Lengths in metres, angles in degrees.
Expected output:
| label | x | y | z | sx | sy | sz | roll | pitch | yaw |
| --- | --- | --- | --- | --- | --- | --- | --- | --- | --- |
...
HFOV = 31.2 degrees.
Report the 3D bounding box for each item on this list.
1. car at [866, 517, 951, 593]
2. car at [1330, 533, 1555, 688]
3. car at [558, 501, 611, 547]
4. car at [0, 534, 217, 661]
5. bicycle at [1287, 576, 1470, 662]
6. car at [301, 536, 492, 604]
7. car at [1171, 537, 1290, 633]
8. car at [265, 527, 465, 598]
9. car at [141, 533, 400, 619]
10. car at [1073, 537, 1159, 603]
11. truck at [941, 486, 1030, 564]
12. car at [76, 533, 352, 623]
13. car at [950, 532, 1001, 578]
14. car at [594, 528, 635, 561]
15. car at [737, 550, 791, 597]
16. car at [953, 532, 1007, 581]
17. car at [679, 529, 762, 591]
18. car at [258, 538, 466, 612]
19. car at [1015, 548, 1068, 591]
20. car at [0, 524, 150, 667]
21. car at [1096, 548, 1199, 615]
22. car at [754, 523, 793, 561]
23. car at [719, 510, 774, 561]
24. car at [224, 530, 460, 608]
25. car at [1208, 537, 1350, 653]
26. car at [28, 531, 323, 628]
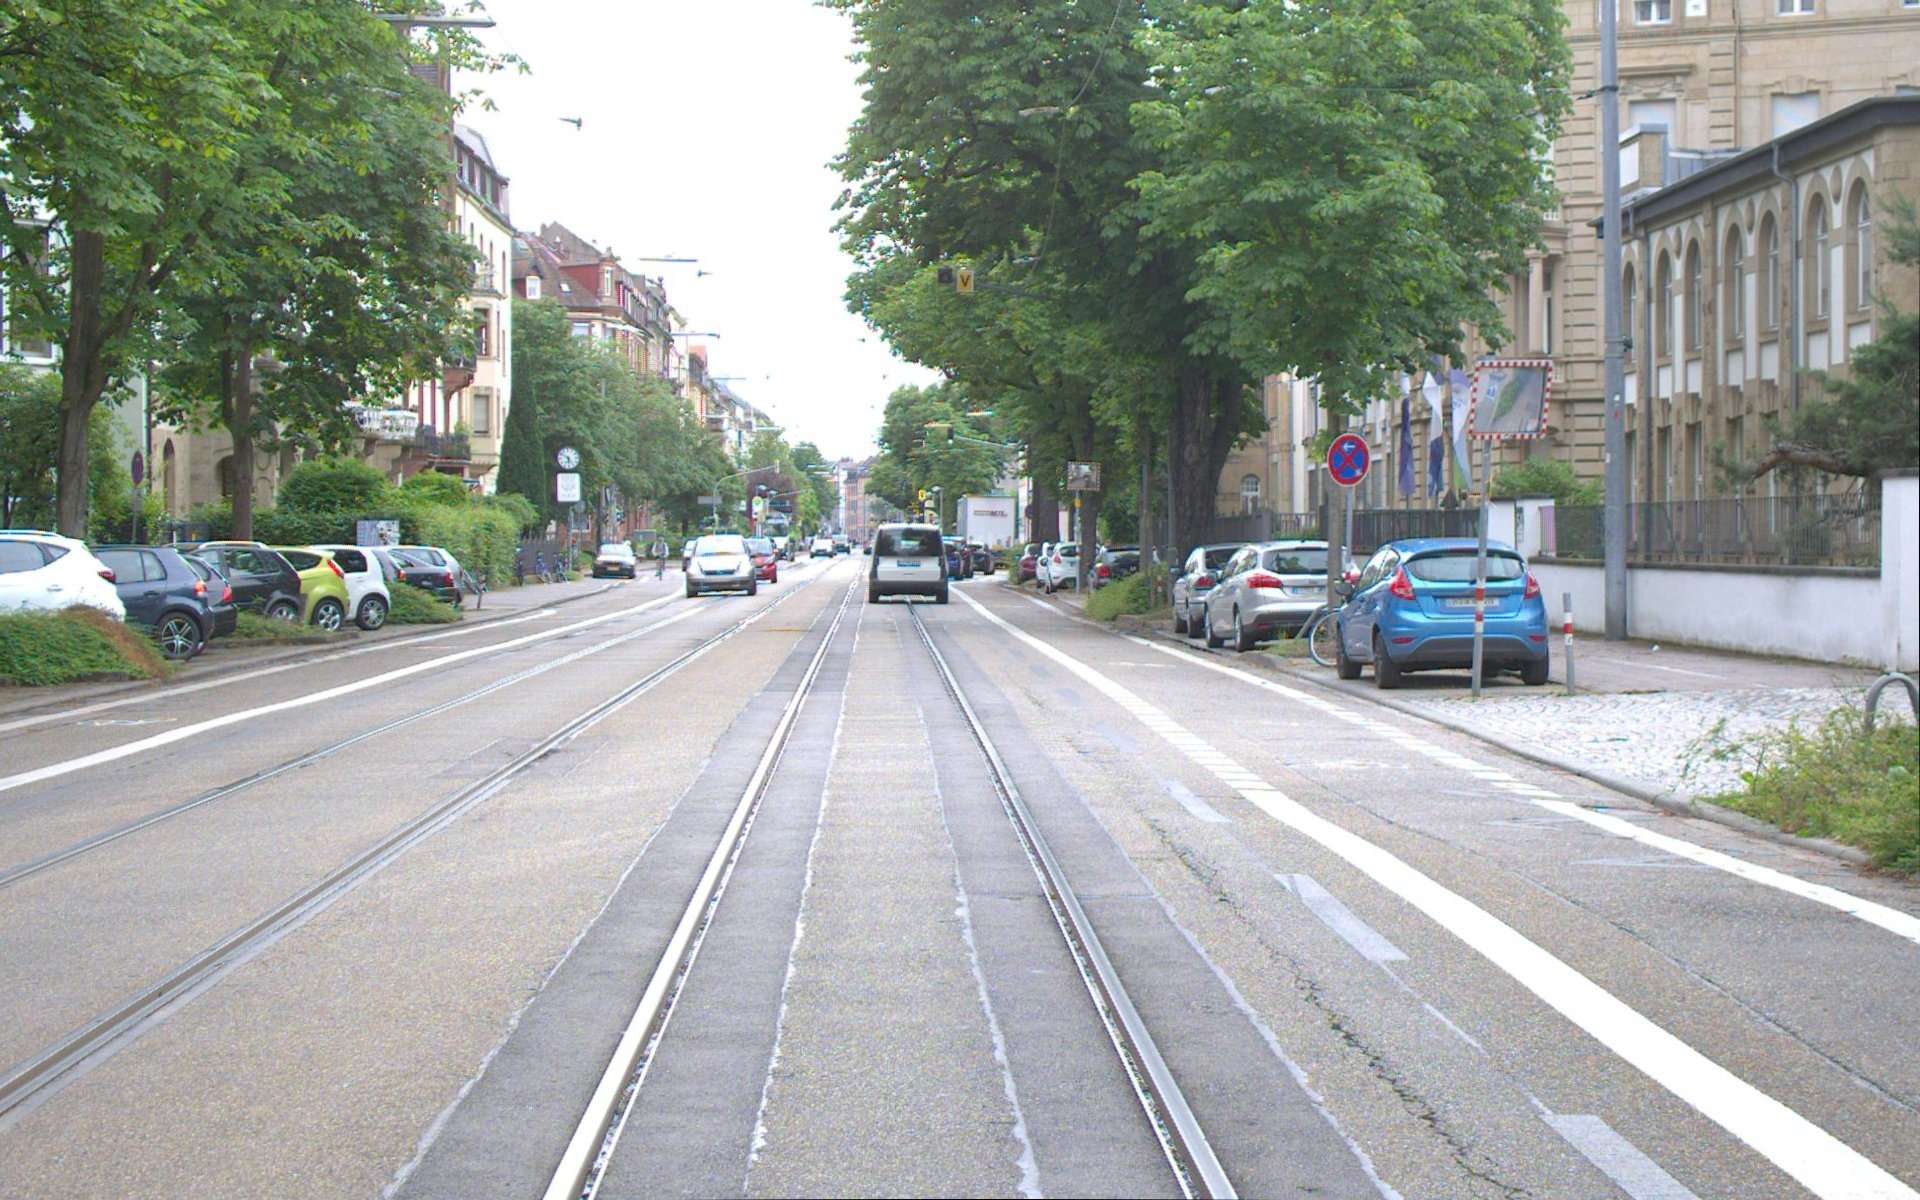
| label | x | y | z | sx | sy | sz | roll | pitch | yaw |
| --- | --- | --- | --- | --- | --- | --- | --- | --- | --- |
| car | -1.157 | -1.029 | 79.127 | 1.812 | 1.702 | 3.699 | 1 | 1 | 1 |
| car | 4.809 | 0.070 | 34.678 | 1.674 | 1.455 | 3.433 | 1 | 1 | -2 |
| car | -18.520 | -3.755 | 169.654 | 2.177 | 2.199 | 4.219 | -1 | 1 | 0 |
| car | -11.176 | -0.048 | 40.926 | 1.699 | 1.449 | 4.335 | 2 | 2 | 44 |
| bicycle | 4.792 | 0.210 | 39.437 | 2.012 | 0.953 | 0.534 | -1 | 1 | -5 |
| car | -12.113 | -0.639 | 73.927 | 3.707 | 1.381 | 1.700 | 1 | 1 | -25 |
| car | 4.200 | -0.262 | 53.785 | 1.475 | 1.424 | 3.566 | 1 | 1 | -2 |
| car | -12.237 | -0.777 | 70.726 | 3.707 | 1.381 | 1.700 | 1 | 1 | -25 |
| car | -11.441 | -0.400 | 57.229 | 1.699 | 1.347 | 3.958 | 2 | 2 | 44 |
| car | 3.446 | -0.691 | 76.421 | 1.791 | 1.394 | 3.795 | 0 | 1 | 1 |
| truck | 1.275 | -3.944 | 180.636 | 3.807 | 4.015 | 10.220 | 0 | 1 | -5 |
| car | -11.696 | -0.348 | 54.053 | 1.699 | 1.347 | 3.958 | 2 | 2 | 44 |
| car | 0.680 | -1.990 | 150.951 | 1.993 | 2.007 | 4.001 | 0 | 1 | -3 |
| car | -14.523 | -2.336 | 144.671 | 1.641 | 1.349 | 3.878 | 0 | 1 | -5 |
| car | -6.491 | -0.892 | 114.047 | 1.676 | 1.517 | 2.782 | 1 | 1 | -1 |
| car | 0.740 | -1.636 | 129.191 | 1.993 | 1.787 | 4.000 | 0 | 1 | 0 |
| car | -6.175 | -1.056 | 89.036 | 1.900 | 1.525 | 3.754 | -2 | 1 | -1 |
| car | -11.804 | -0.492 | 67.890 | 3.707 | 1.381 | 1.700 | 1 | 1 | -25 |
| car | 2.727 | -1.044 | 115.497 | 1.770 | 1.394 | 3.795 | 0 | 1 | 1 |
| car | -11.217 | -0.064 | 37.778 | 1.698 | 1.550 | 4.336 | 2 | 1 | 40 |
| car | 3.694 | -0.382 | 68.292 | 1.873 | 1.247 | 4.000 | 0 | 1 | 1 |
| car | -11.344 | -3.544 | 208.985 | 2.205 | 2.248 | 4.000 | -1 | 1 | -1 |
| car | -10.234 | -3.116 | 165.310 | 2.205 | 2.409 | 4.000 | -1 | 1 | 3 |
| car | -11.176 | -0.552 | 62.307 | 1.699 | 1.347 | 3.958 | 2 | 2 | 44 |
| car | 4.295 | -0.095 | 46.625 | 1.475 | 1.476 | 3.566 | 1 | 1 | -2 |
| car | -11.559 | -0.310 | 50.788 | 1.699 | 1.347 | 3.958 | 2 | 2 | 44 |
